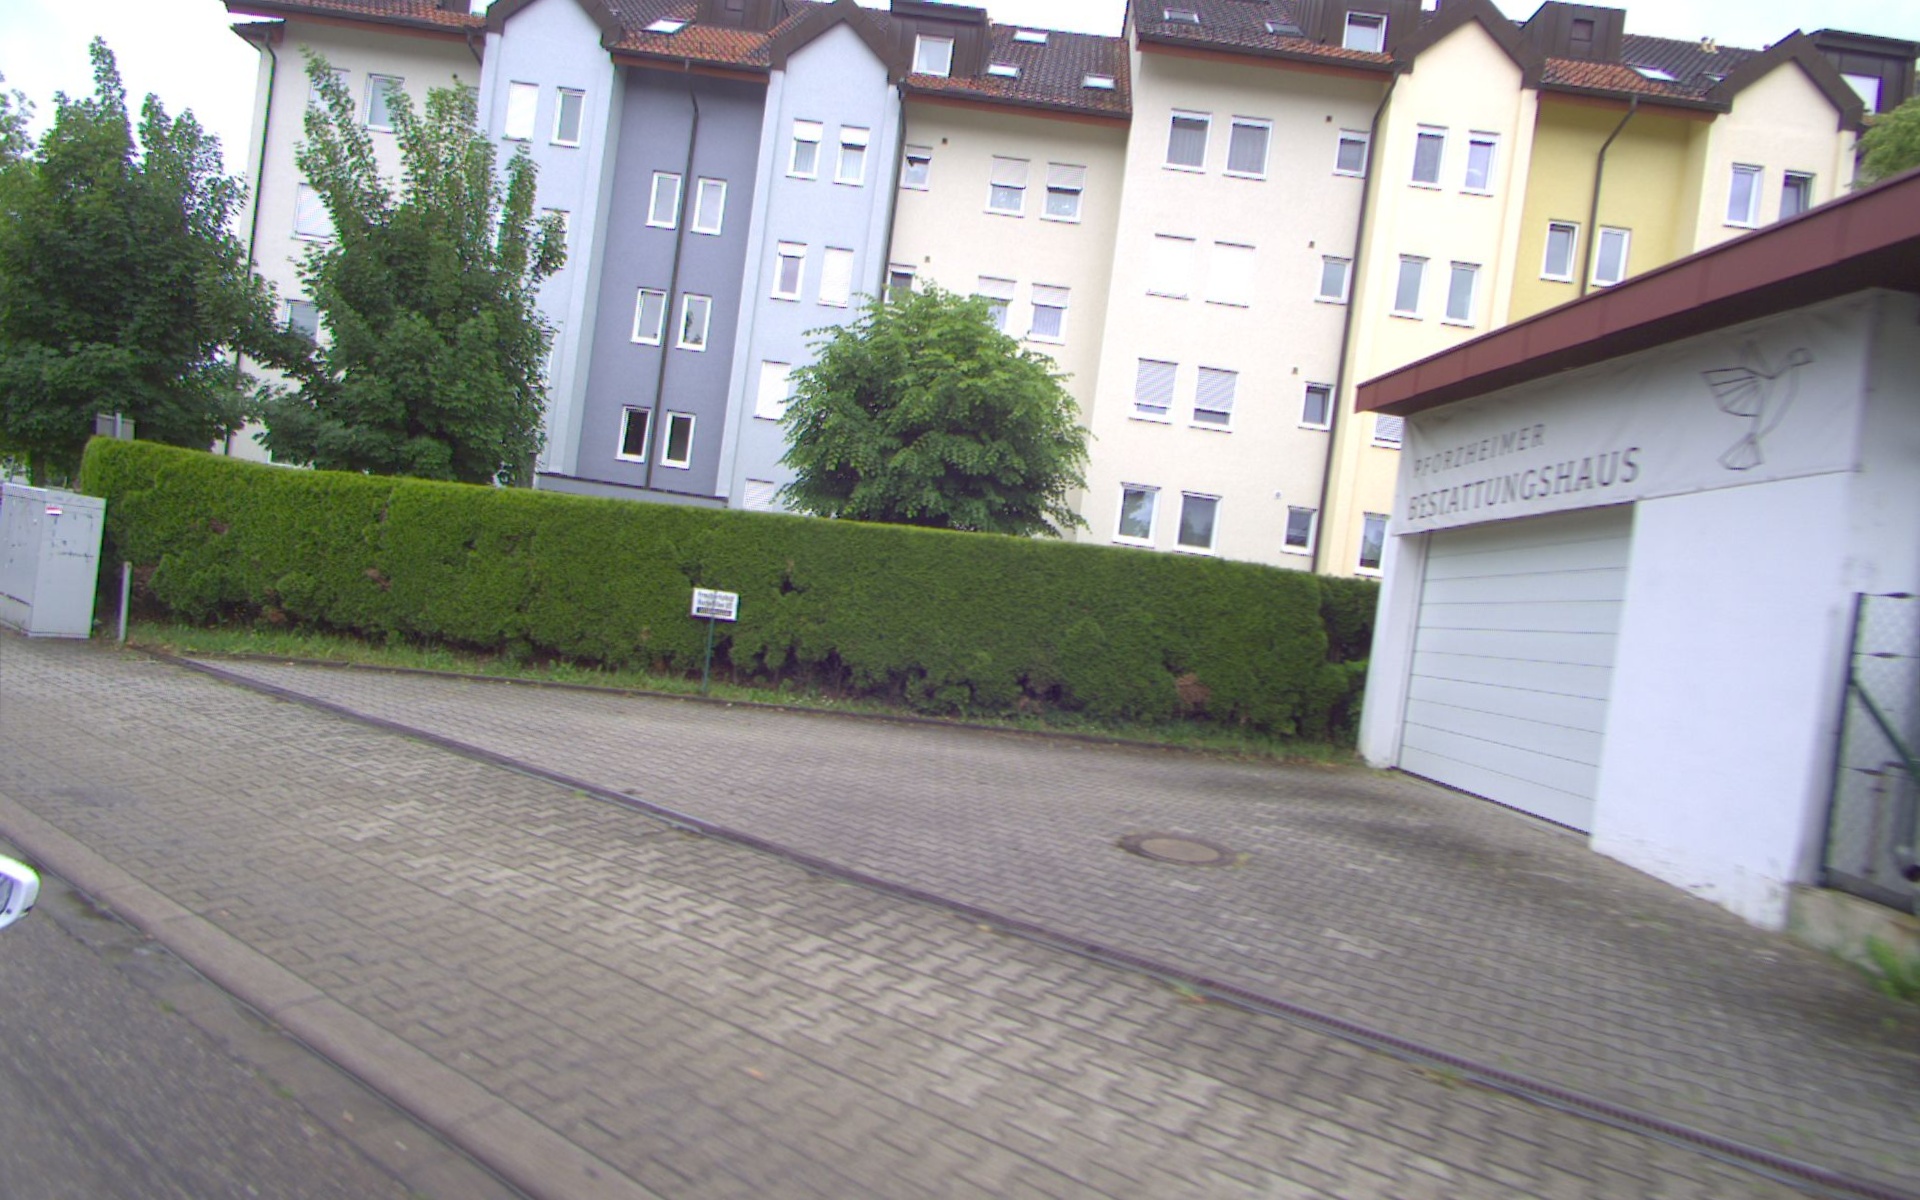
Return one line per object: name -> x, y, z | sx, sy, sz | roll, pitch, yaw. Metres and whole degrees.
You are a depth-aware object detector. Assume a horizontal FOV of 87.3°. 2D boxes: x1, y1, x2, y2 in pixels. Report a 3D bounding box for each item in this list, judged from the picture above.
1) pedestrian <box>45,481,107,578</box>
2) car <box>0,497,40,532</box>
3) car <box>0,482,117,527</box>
pedestrian -> -17.432, -1.386, 19.839 | 0.660, 1.794, 0.614 | 7, 0, 35
car -> -46.699, -4.266, 47.801 | 1.735, 1.460, 4.015 | 7, 0, 31
car -> -59.393, -6.257, 66.035 | 1.965, 2.038, 5.834 | 7, 0, 26
